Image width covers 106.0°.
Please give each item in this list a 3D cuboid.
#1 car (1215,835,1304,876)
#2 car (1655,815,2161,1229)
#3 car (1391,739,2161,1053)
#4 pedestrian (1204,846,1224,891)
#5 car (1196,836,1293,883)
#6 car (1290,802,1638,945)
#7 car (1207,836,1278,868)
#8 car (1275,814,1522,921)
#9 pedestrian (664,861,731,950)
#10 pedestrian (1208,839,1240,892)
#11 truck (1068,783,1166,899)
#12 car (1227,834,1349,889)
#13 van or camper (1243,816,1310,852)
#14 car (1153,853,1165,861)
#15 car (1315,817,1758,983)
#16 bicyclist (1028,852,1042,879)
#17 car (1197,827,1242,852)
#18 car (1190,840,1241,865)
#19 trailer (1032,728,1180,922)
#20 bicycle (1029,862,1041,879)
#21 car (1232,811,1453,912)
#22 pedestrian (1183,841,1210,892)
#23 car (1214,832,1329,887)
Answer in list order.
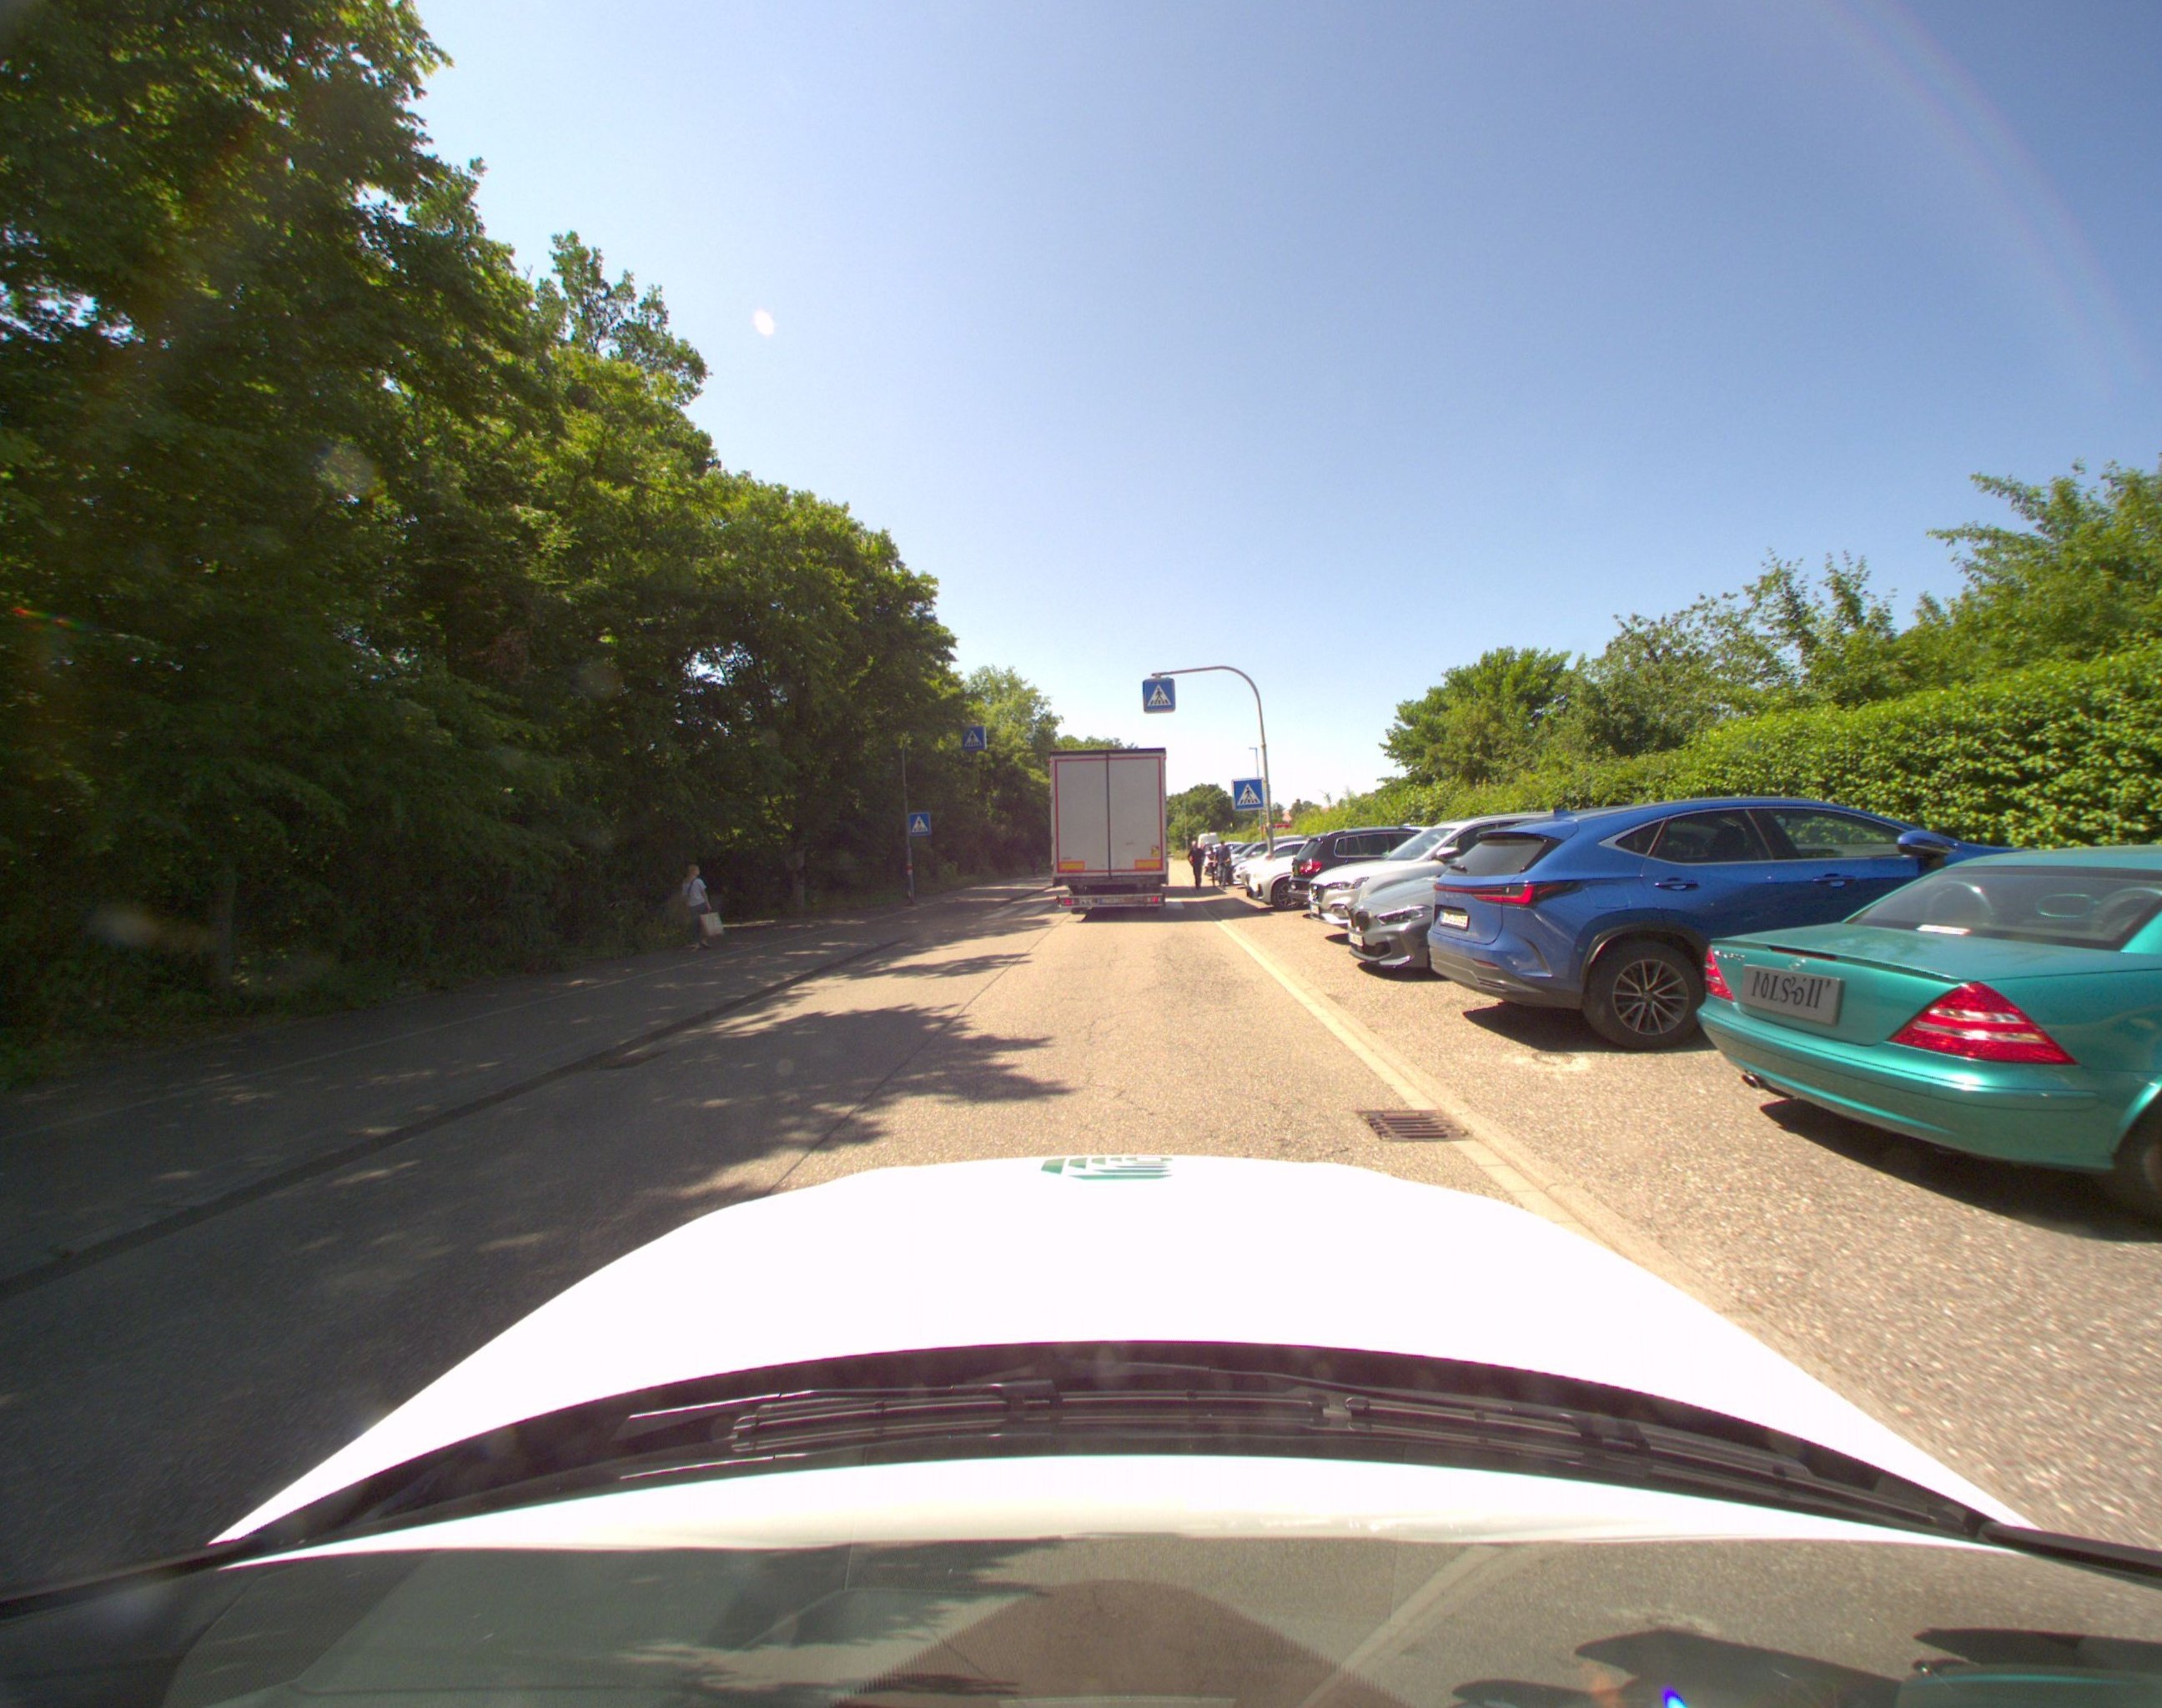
[{"bbox_3d":[8.980,0.082,41.155,3.949,1.586,1.811,-6,-1,-4],"label":"car"},{"bbox_3d":[4.958,0.489,3.493,3.719,1.268,1.629,-5,0,3],"label":"car"},{"bbox_3d":[4.889,0.279,6.245,4.222,1.633,1.824,-6,0,1],"label":"car"},{"bbox_3d":[5.003,0.532,30.661,0.586,1.614,0.746,-7,-1,9],"label":"pedestrian"},{"bbox_3d":[7.538,0.230,37.781,3.949,1.668,1.811,-6,2,-4],"label":"car"},{"bbox_3d":[5.507,0.281,12.158,4.221,1.653,1.900,-4,-1,1],"label":"car"},{"bbox_3d":[9.913,-0.113,50.232,3.944,1.618,1.813,-5,0,0],"label":"car"},{"bbox_3d":[6.163,0.252,16.218,4.108,1.657,1.888,-5,0,3],"label":"car"},{"bbox_3d":[-7.346,0.976,15.628,0.825,1.622,0.783,-2,0,1],"label":"pedestrian"},{"bbox_3d":[5.180,0.400,29.535,0.902,1.798,0.937,-7,-1,8],"label":"pedestrian"},{"bbox_3d":[1.454,-0.448,30.113,3.099,3.725,6.422,-2,0,5],"label":"truck"},{"bbox_3d":[7.318,0.260,29.177,3.934,1.479,1.817,-6,-1,8],"label":"car"},{"bbox_3d":[22.015,-2.213,91.644,6.990,3.586,2.785,-3,0,17],"label":"van or camper"},{"bbox_3d":[15.563,0.647,162.442,1.769,1.486,4.014,-3,0,12],"label":"car"},{"bbox_3d":[5.063,0.456,9.392,4.124,1.439,1.811,-4,0,-6],"label":"car"},{"bbox_3d":[-3.144,0.755,55.294,0.713,1.758,0.797,-3,0,7],"label":"bicyclist"},{"bbox_3d":[13.065,-1.329,76.947,3.936,1.798,1.816,-7,-2,6],"label":"car"},{"bbox_3d":[11.402,-0.115,69.310,3.944,1.668,1.813,-6,-1,0],"label":"car"},{"bbox_3d":[0.930,-0.629,23.387,3.099,4.102,11.549,-2,0,4],"label":"trailer"},{"bbox_3d":[-3.107,1.127,55.379,0.451,1.047,2.207,-3,0,6],"label":"bicycle"},{"bbox_3d":[5.937,0.180,18.913,4.390,1.698,1.877,-7,-1,0],"label":"car"},{"bbox_3d":[4.458,0.471,31.451,0.817,1.834,0.794,-7,-1,8],"label":"pedestrian"},{"bbox_3d":[7.438,0.230,32.032,3.947,1.668,1.812,-6,-1,-2],"label":"car"}]
